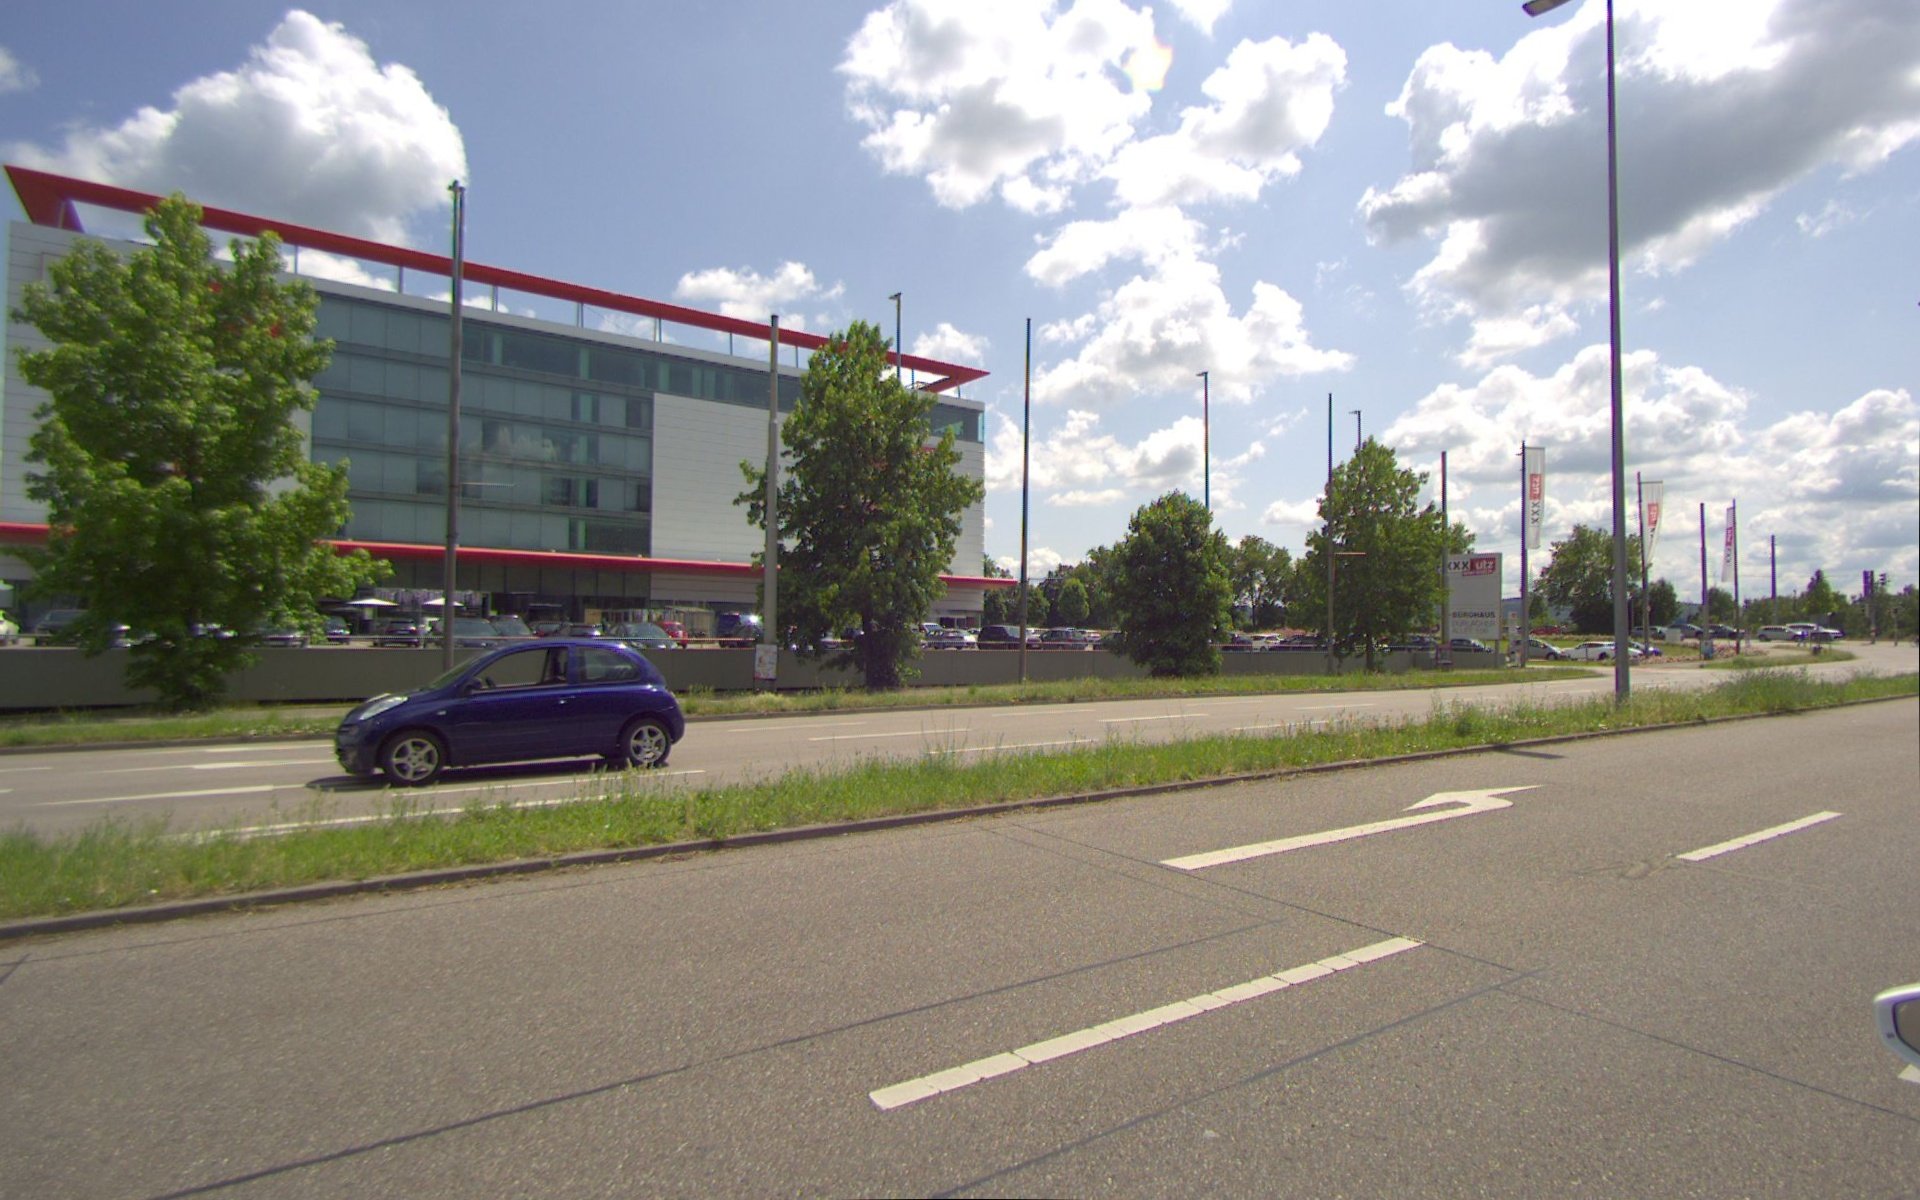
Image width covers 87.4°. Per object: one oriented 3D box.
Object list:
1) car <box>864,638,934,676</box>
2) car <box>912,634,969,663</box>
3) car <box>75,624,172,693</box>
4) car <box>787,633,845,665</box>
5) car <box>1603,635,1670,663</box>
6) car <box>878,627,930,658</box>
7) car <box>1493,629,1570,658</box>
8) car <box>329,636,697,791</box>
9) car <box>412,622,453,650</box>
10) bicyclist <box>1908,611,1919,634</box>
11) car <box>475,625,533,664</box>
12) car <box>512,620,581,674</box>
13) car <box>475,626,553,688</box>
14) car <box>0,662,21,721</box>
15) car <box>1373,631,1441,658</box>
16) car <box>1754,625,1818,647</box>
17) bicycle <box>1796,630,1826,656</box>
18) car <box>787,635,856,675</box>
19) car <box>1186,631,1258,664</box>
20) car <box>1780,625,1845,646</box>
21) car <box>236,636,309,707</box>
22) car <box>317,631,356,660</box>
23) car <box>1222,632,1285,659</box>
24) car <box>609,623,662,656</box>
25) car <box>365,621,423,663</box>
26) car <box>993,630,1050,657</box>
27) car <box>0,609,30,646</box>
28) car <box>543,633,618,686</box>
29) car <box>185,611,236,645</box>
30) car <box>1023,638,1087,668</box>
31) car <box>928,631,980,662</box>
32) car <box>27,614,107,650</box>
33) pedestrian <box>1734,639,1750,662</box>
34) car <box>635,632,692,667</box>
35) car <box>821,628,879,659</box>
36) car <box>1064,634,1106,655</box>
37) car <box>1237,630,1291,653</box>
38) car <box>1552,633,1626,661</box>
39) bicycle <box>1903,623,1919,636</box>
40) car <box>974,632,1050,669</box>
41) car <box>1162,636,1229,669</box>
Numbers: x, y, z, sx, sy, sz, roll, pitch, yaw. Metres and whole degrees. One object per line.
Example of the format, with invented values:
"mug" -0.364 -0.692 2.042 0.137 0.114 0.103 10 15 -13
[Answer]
"car" -3.516 3.199 57.232 1.981 2.076 4.319 1 -3 -36
"car" -1.421 3.464 71.487 1.980 2.015 4.322 1 -3 -35
"car" -30.426 2.089 36.688 1.977 2.359 4.328 1 -3 -30
"car" -9.339 3.164 64.867 1.981 2.015 4.319 1 -3 -36
"car" 51.417 3.716 76.388 3.946 2.040 1.988 -3 -3 44
"car" -4.377 3.272 77.934 1.852 2.336 4.525 1 -3 -36
"car" 40.604 3.108 71.438 1.981 2.015 4.319 1 -3 -36
"car" -5.112 1.187 11.637 3.640 1.494 1.728 1 -3 -36
"car" -29.401 2.031 55.948 1.663 1.489 3.798 1 -3 -34
"bicyclist" 78.560 1.849 82.475 0.605 1.870 0.914 0 -1 -36
"car" -24.462 2.385 53.806 1.981 2.015 4.319 1 -3 -36
"car" -19.048 2.144 46.162 1.981 2.359 4.319 1 -3 -36
"car" -17.998 2.250 40.427 1.981 2.359 4.319 1 -3 -36
"car" -27.332 2.529 27.350 1.830 1.617 3.965 1 -3 -33
"car" 35.273 3.486 79.315 1.981 2.015 4.550 2 -2 -36
"car" 78.212 3.421 95.190 1.981 2.015 4.319 1 -3 -36
"bicycle" 55.956 2.836 66.030 2.029 1.697 1.011 1 -3 -36
"car" -7.617 2.977 54.964 1.972 2.069 4.257 1 -3 -36
"car" 17.235 3.094 66.249 1.981 2.015 4.318 1 -2 -36
"car" 81.292 3.400 95.814 1.981 2.015 4.319 1 -3 -36
"car" -24.575 2.494 35.855 1.981 2.359 4.319 1 -3 -36
"car" -33.331 2.414 53.627 1.663 1.489 3.798 1 -3 -34
"car" 22.235 3.438 76.233 1.981 2.015 4.319 2 -3 -36
"car" -20.823 2.556 64.350 1.981 2.015 4.319 1 -3 -36
"car" -28.727 2.134 50.935 1.982 2.015 4.317 1 -3 -37
"car" 4.602 3.269 75.767 1.981 2.015 4.319 1 -3 -36
"car" -41.112 1.202 42.568 1.836 1.489 3.799 1 -3 -33
"car" -15.758 2.439 41.584 1.981 2.040 3.960 1 -3 -36
"car" -34.895 1.350 46.860 1.663 1.489 3.798 1 -3 -34
"car" 6.102 3.400 64.864 1.761 1.854 4.319 1 -3 -36
"car" -0.522 3.653 78.825 1.852 2.336 4.525 1 -3 -36
"car" -38.853 1.418 43.795 1.834 1.489 3.803 1 -3 -30
"pedestrian" 65.988 4.240 84.758 0.851 1.862 0.797 1 0 26
"car" -17.839 2.953 60.275 1.981 2.015 4.319 1 -3 -36
"car" -7.317 2.898 66.736 1.981 2.015 4.319 1 -3 -36
"car" 12.423 4.430 100.153 1.980 2.015 4.048 1 -3 -34
"car" 28.190 3.852 93.237 1.982 2.015 4.579 1 -3 -37
"car" 46.993 3.507 75.112 1.981 2.015 4.319 1 -3 -36
"bicycle" 78.683 2.429 82.303 0.616 1.012 2.003 2 0 -35
"car" 2.868 2.819 56.260 1.981 2.015 4.319 1 -3 -36
"car" 15.194 3.344 64.970 1.826 2.015 4.043 2 -2 -37
